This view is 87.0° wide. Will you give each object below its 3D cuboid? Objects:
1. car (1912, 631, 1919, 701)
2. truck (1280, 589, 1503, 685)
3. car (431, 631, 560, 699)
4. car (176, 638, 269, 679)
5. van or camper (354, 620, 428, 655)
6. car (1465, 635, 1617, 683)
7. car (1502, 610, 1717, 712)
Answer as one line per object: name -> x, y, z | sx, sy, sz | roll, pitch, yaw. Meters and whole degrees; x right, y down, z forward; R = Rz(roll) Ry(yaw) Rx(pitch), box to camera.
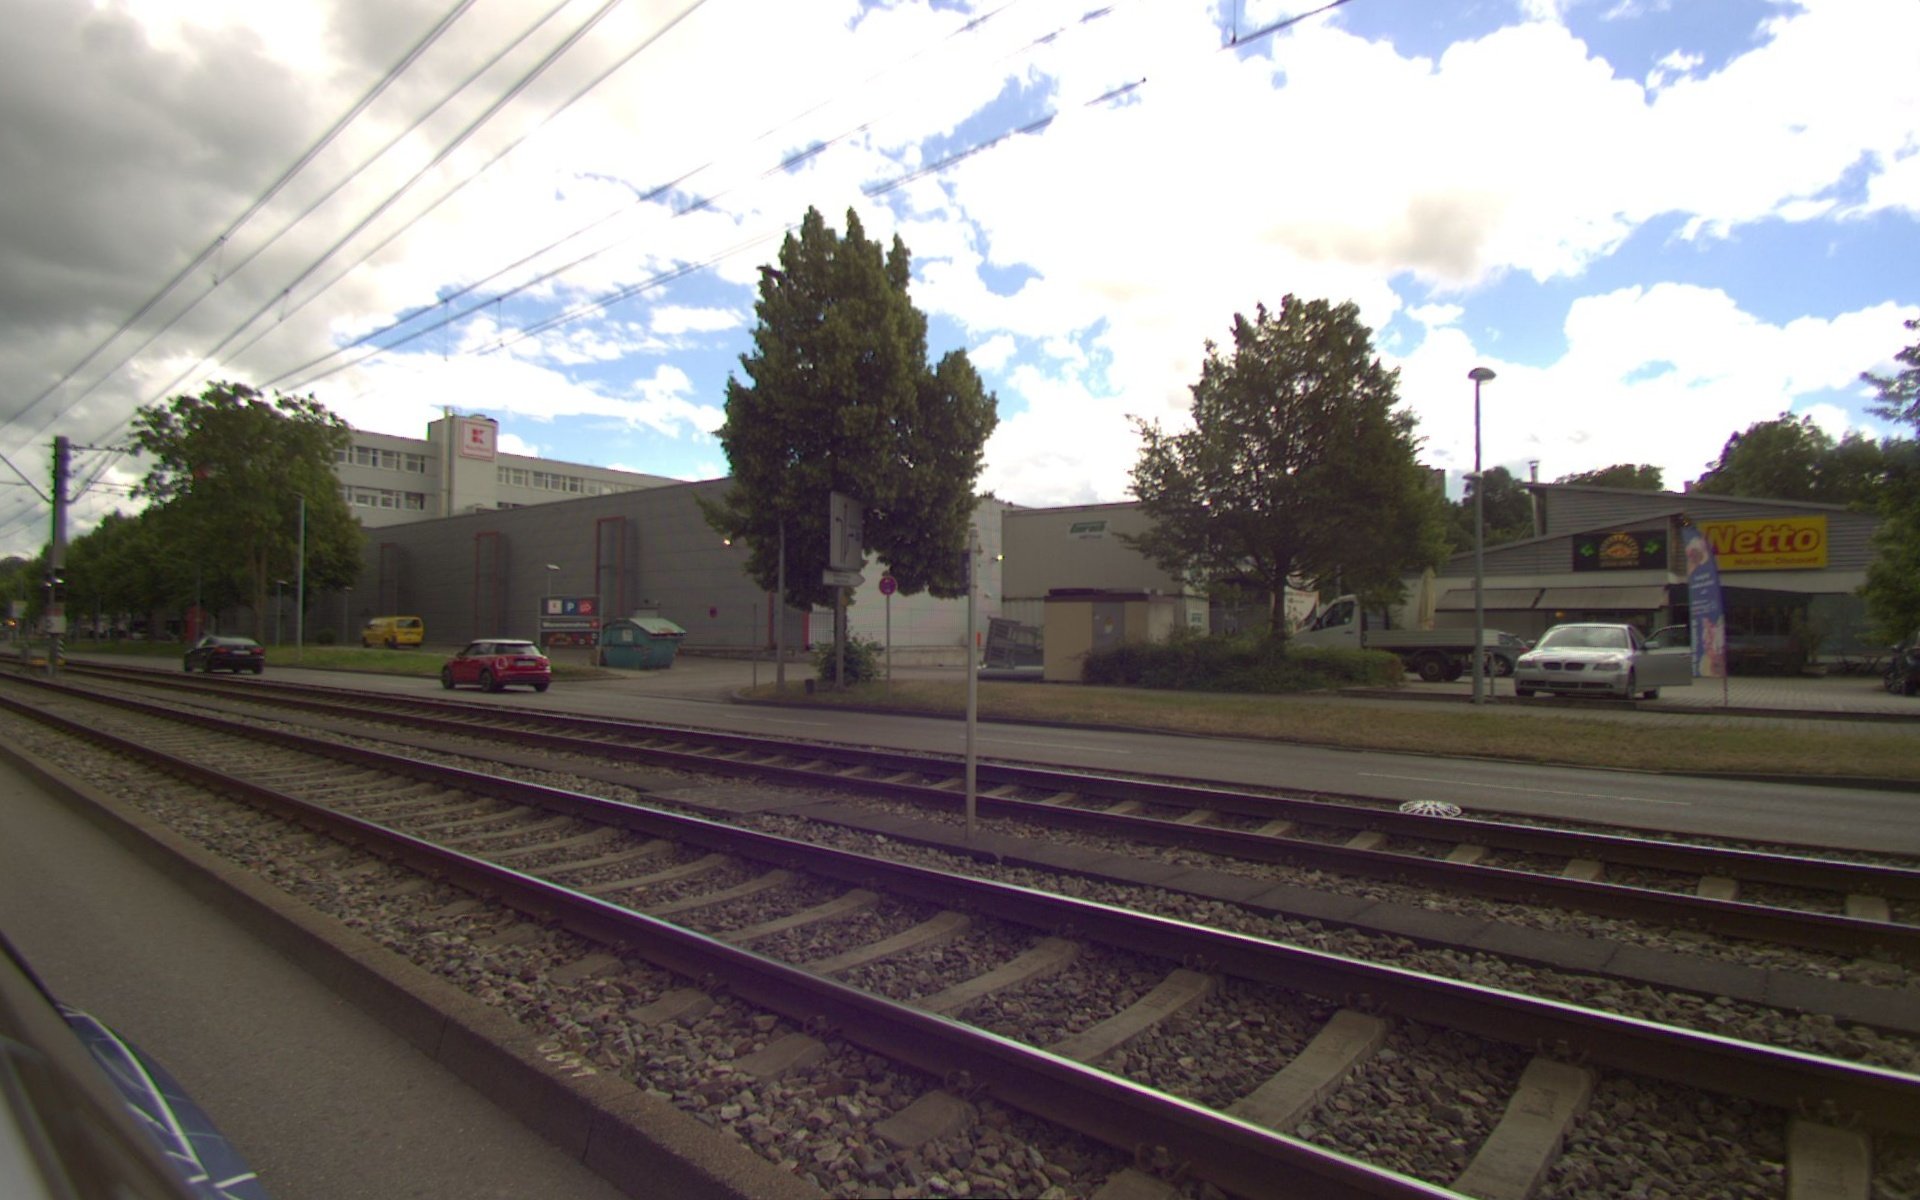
car -> 23.899, 1.539, 23.907 | 3.938, 1.608, 1.695 | 2, -3, -42
truck -> 11.701, 1.035, 27.740 | 5.261, 2.401, 1.972 | -2, -3, 41
car -> -13.182, 1.775, 28.642 | 3.996, 1.785, 1.774 | -2, -3, 40
car -> -27.422, 2.155, 37.577 | 4.440, 1.412, 1.741 | -2, -5, 40
van or camper -> -34.828, 2.291, 61.911 | 5.235, 2.029, 2.083 | -2, -2, 38
car -> 18.083, 1.819, 31.570 | 3.991, 1.411, 1.595 | -1, -3, 36
car -> 12.255, 1.096, 18.959 | 2.651, 1.641, 4.730 | -3, -4, 42
